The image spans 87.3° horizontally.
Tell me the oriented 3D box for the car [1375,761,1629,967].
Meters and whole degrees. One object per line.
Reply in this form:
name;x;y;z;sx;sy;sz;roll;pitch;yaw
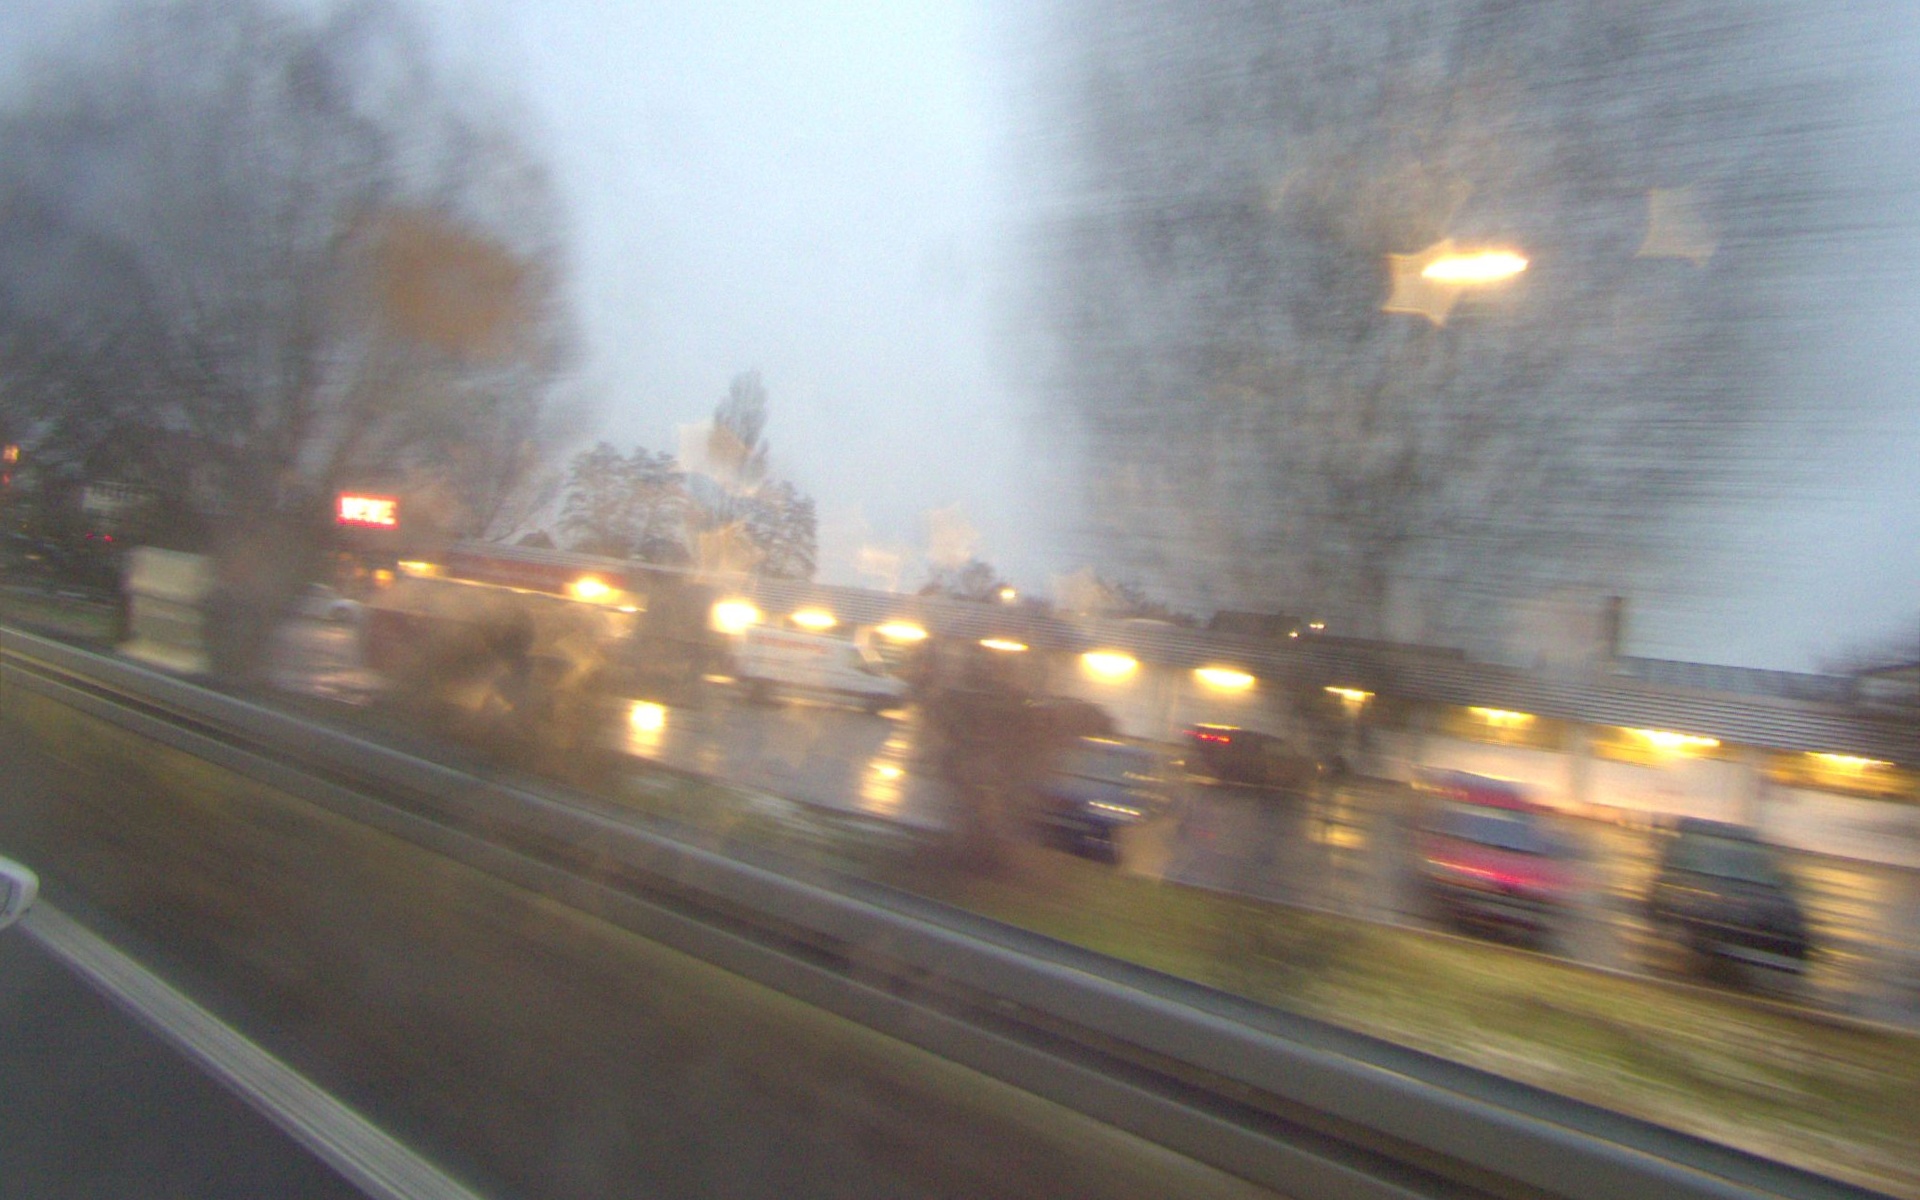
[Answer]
car;7.175;3.398;13.849;1.983;1.744;4.146;7;-2;15

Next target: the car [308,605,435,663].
car;-24.784;1.451;42.565;4.313;1.938;2.090;8;-4;-26

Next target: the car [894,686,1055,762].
car;0.403;3.687;30.089;4.299;1.781;2.097;7;-4;-16

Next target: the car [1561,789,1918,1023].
car;9.628;3.671;12.939;1.983;1.749;4.147;6;-3;14

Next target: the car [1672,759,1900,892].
car;19.424;5.278;23.695;4.301;2.548;2.096;7;-4;-18

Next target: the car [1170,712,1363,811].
car;7.990;4.202;26.330;4.299;2.041;2.097;7;-4;-16

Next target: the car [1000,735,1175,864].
car;2.060;2.919;15.334;1.632;1.438;3.552;6;-4;23

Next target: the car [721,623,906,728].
car;-4.834;2.494;33.016;5.546;2.806;2.097;7;-4;-16
